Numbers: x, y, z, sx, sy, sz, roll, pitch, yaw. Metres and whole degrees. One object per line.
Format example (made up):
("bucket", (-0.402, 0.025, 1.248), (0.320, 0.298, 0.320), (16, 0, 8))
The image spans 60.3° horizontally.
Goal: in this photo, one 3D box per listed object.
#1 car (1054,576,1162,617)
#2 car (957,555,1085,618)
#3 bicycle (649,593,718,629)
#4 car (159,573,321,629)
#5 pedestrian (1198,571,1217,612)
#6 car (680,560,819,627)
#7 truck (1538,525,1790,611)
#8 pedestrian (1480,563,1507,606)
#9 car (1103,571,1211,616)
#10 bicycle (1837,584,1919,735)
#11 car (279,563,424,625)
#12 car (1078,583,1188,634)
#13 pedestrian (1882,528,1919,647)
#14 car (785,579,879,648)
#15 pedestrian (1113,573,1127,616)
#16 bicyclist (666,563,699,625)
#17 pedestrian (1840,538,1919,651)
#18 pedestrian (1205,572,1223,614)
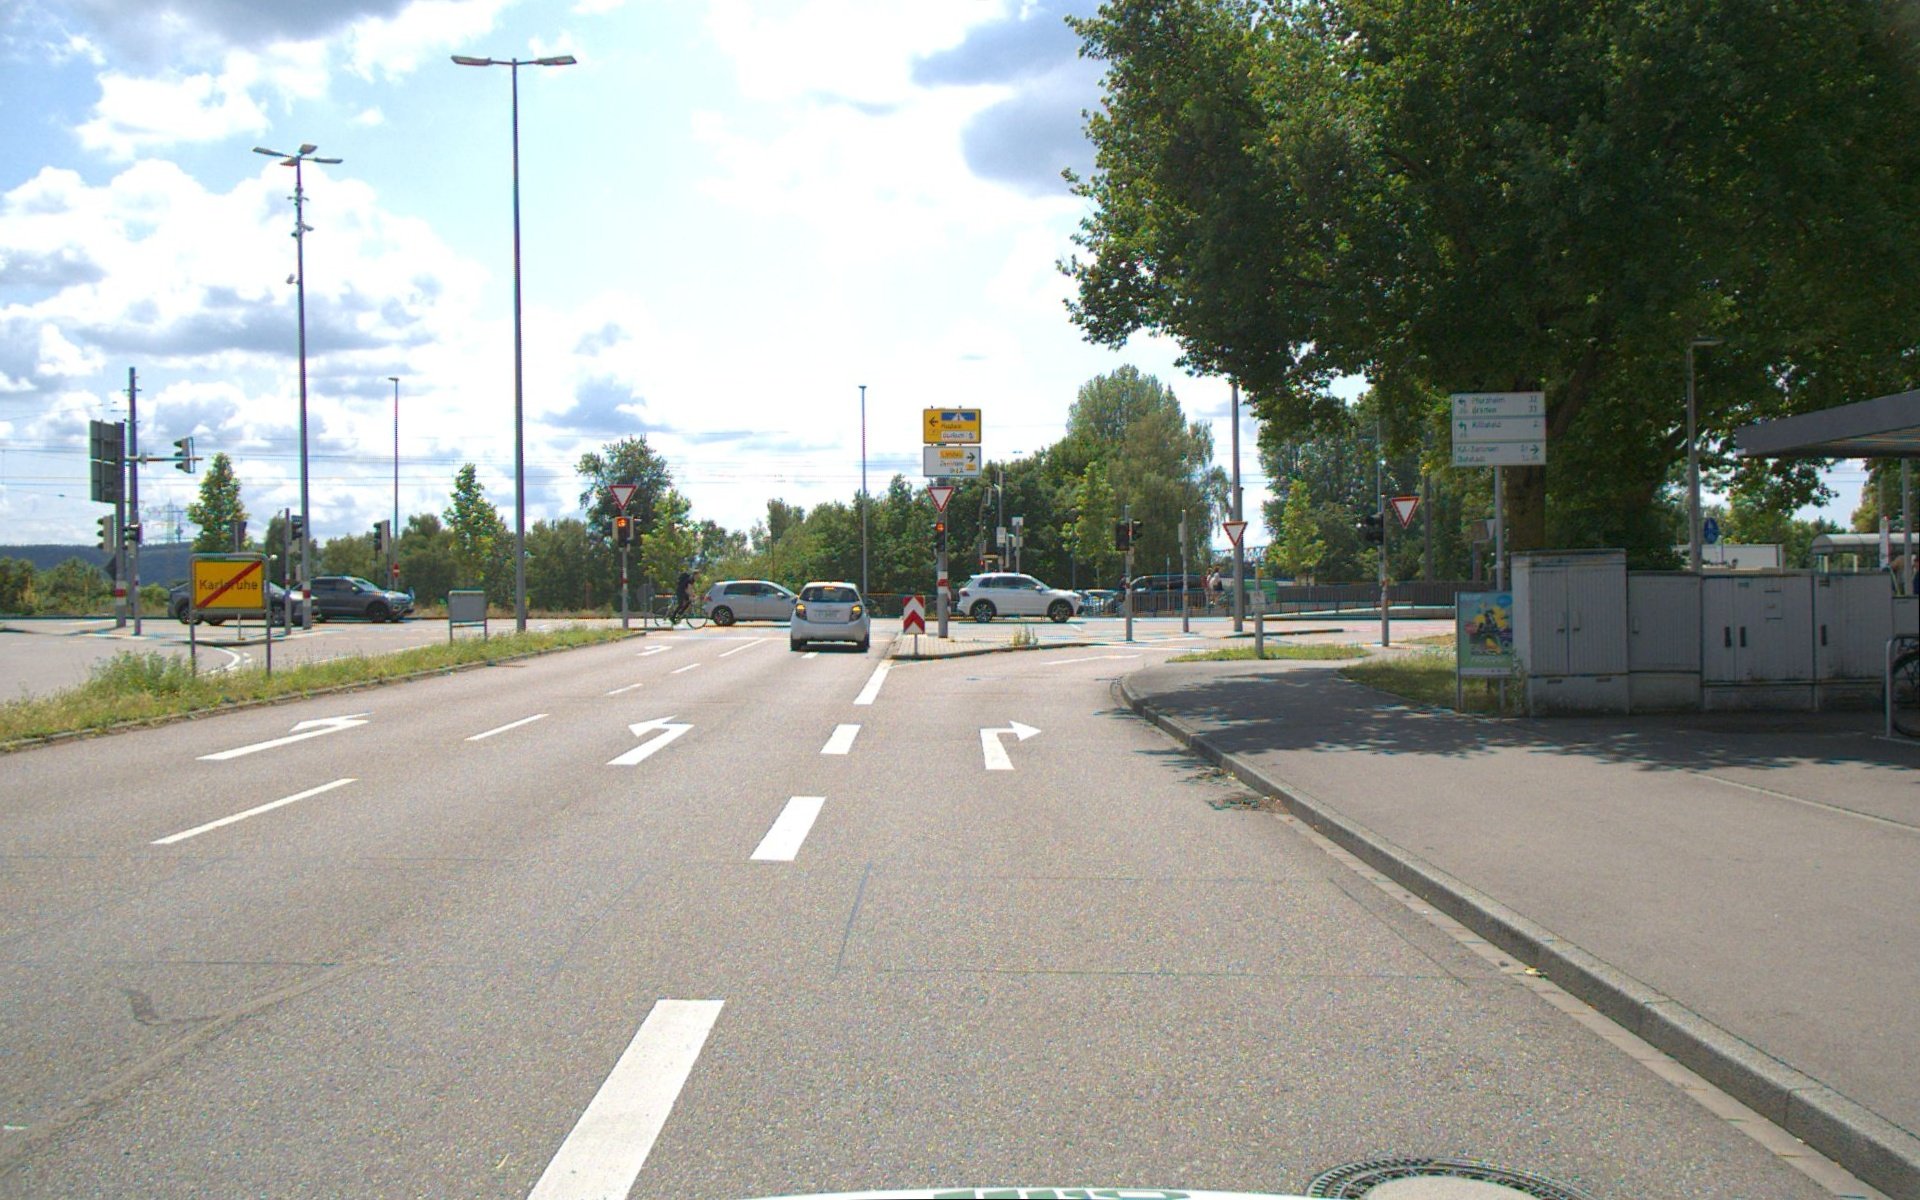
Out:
("car", (7.147, -0.183, 80.424), (5.014, 1.839, 1.999), (-1, 0, -2))
("car", (2.072, -0.450, 57.011), (4.261, 2.024, 1.999), (-1, 0, -2))
("bicycle", (-8.502, 0.321, 50.865), (1.976, 1.016, 0.622), (2, 0, -2))
("car", (-23.475, 0.026, 54.036), (4.413, 1.704, 1.903), (-1, 0, -1))
("pedestrian", (10.587, -0.365, 70.755), (0.691, 1.751, 0.601), (-2, 0, 1))
("car", (-6.774, -0.202, 53.570), (4.261, 2.024, 1.999), (-1, 0, -2))
("truck", (36.177, -1.636, 85.227), (11.714, 4.176, 2.952), (-1, 0, -1))
("pedestrian", (23.203, -0.671, 71.934), (0.908, 1.839, 0.736), (-1, 0, -2))
("car", (8.841, -0.288, 74.372), (4.557, 1.852, 1.999), (-1, 0, -2))
("bicycle", (8.288, 0.464, 13.736), (1.826, 1.208, 0.423), (-2, 0, -6))
("car", (-21.022, -0.209, 57.255), (4.261, 2.024, 1.999), (-1, 0, -2))
("car", (6.577, 0.318, 63.208), (3.907, 1.814, 1.909), (-2, 0, -3))
("pedestrian", (17.278, -0.222, 29.699), (0.986, 2.108, 0.975), (-1, -1, 14))
("car", (-2.899, 0.282, 38.119), (1.855, 1.495, 3.833), (1, 0, 0))
("pedestrian", (6.683, -0.238, 69.237), (0.512, 1.751, 0.730), (-2, 0, 3))
("bicyclist", (-8.537, -0.186, 50.856), (0.902, 1.878, 0.611), (-1, 0, -2))
("pedestrian", (16.187, -0.093, 29.121), (0.986, 1.935, 0.975), (-1, -1, 13))
("pedestrian", (10.781, -0.298, 70.101), (0.662, 1.778, 0.637), (-1, 2, 1))
